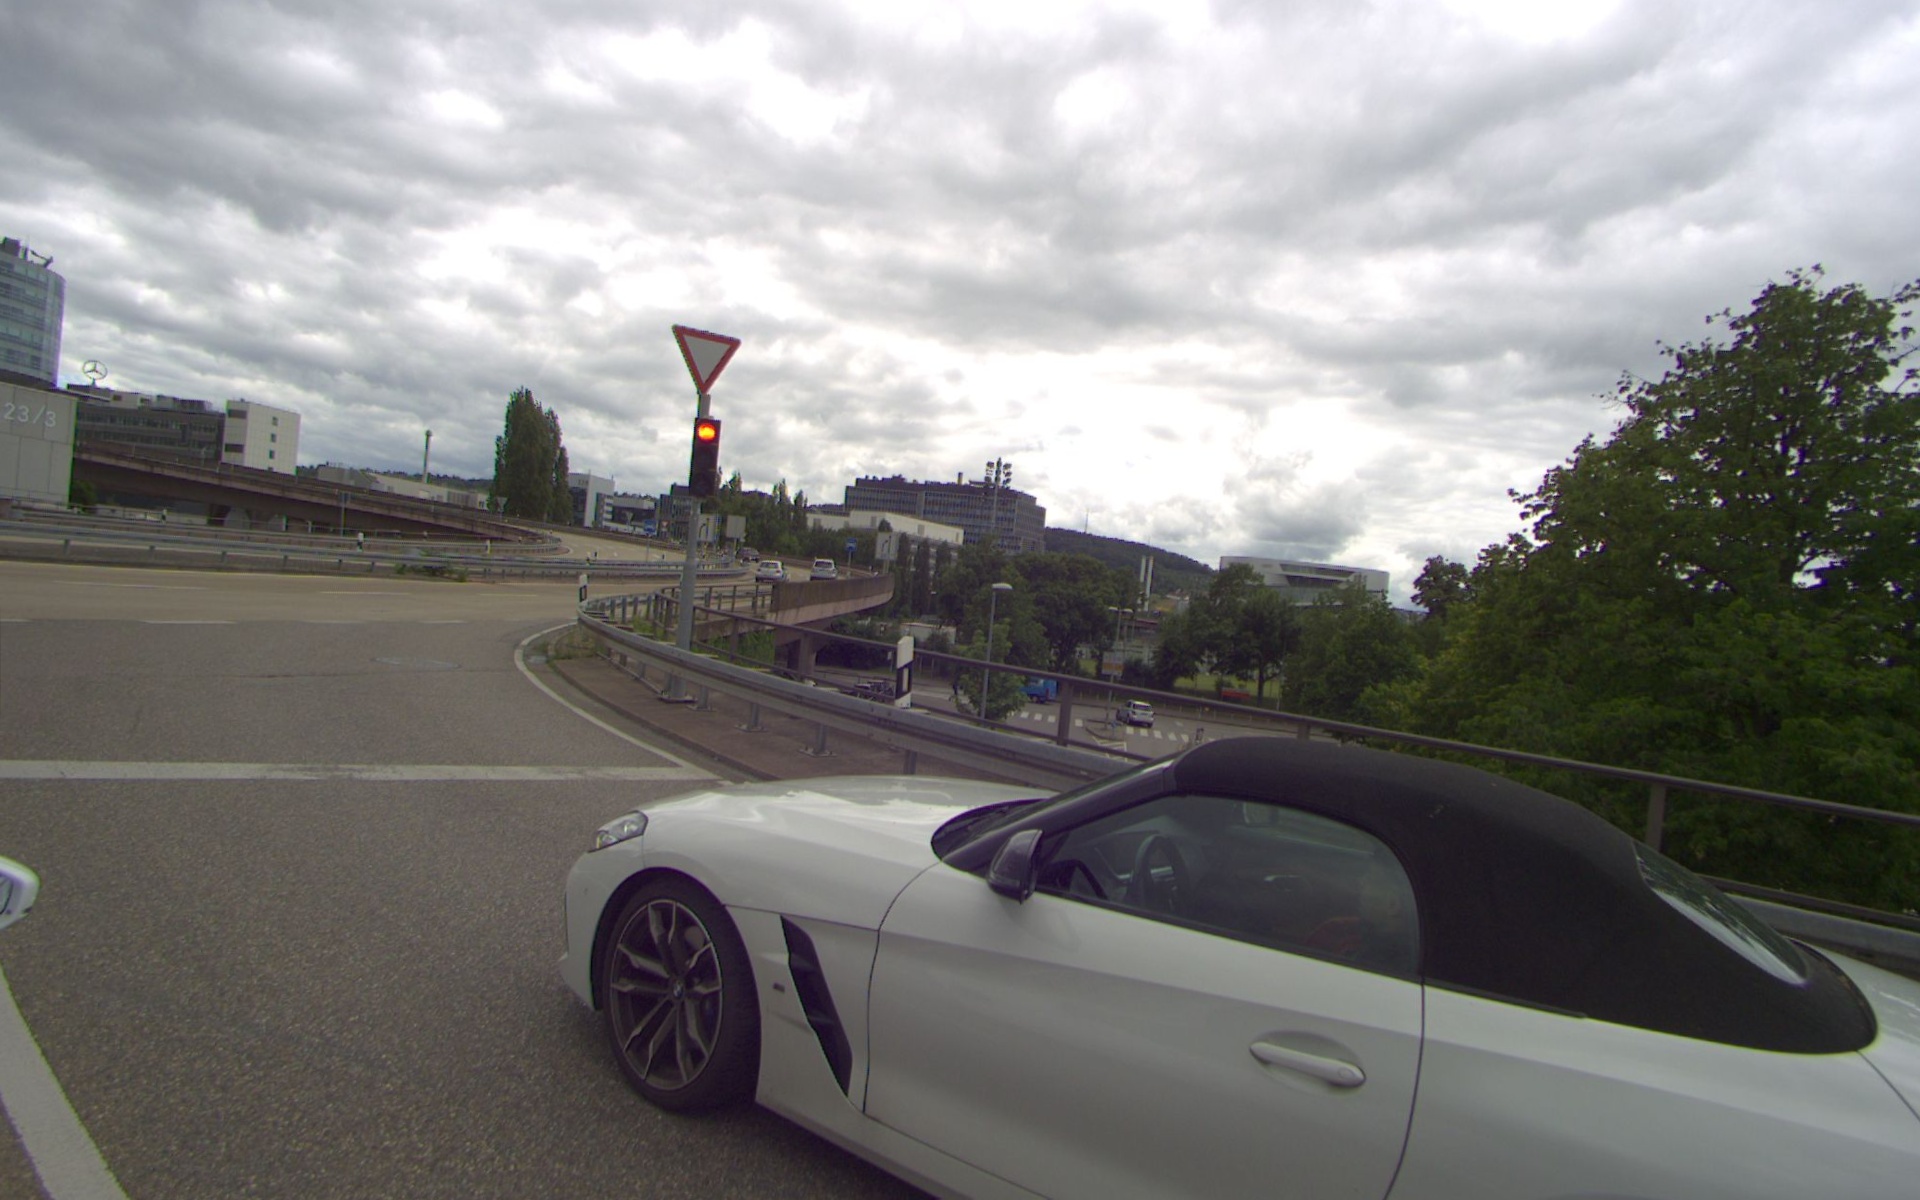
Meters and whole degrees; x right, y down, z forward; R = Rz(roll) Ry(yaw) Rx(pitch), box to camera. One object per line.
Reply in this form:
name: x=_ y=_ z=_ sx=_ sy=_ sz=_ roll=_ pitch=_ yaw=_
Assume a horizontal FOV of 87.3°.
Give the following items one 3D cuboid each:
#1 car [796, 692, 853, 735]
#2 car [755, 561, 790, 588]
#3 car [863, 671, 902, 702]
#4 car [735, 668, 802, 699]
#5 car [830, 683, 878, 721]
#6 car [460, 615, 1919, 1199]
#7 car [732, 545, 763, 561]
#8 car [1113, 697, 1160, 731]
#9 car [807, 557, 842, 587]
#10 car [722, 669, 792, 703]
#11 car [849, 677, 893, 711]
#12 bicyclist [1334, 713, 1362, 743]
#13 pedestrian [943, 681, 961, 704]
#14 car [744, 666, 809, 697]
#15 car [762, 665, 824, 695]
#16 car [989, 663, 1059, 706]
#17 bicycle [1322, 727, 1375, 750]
car: x=-6.835 y=5.717 z=51.098 sx=1.792 sy=1.553 sz=4.000 roll=8 pitch=0 yaw=6
car: x=-12.269 y=-1.648 z=65.996 sx=1.699 sy=1.417 sz=4.063 roll=7 pitch=0 yaw=-5
car: x=-5.273 y=5.862 z=68.626 sx=1.792 sy=1.553 sz=4.000 roll=8 pitch=0 yaw=6
car: x=-12.183 y=5.318 z=64.225 sx=3.792 sy=1.371 sz=1.826 roll=8 pitch=1 yaw=1
car: x=-6.053 y=5.799 z=57.758 sx=1.792 sy=1.553 sz=4.000 roll=8 pitch=0 yaw=6
car: x=0.609 y=1.001 z=3.009 sx=4.194 sy=1.306 sz=1.808 roll=7 pitch=-2 yaw=34
car: x=-22.720 y=-4.982 z=107.294 sx=1.712 sy=1.480 sz=4.207 roll=5 pitch=0 yaw=-33
car: x=13.372 y=8.632 z=76.532 sx=1.982 sy=1.883 sz=4.858 roll=10 pitch=-2 yaw=-6
car: x=-9.413 y=-1.916 z=70.428 sx=1.698 sy=1.758 sz=4.555 roll=7 pitch=0 yaw=-1
car: x=-12.461 y=5.270 z=61.886 sx=3.792 sy=1.371 sz=1.826 roll=8 pitch=1 yaw=1
car: x=-5.535 y=5.835 z=62.967 sx=1.792 sy=1.553 sz=4.195 roll=8 pitch=0 yaw=6
bicyclist: x=31.006 y=10.256 z=80.498 sx=1.539 sy=2.114 sz=1.092 roll=10 pitch=-5 yaw=-4
pedestrian: x=-0.590 y=6.841 z=74.178 sx=0.898 sy=1.514 sz=0.750 roll=8 pitch=-3 yaw=15
car: x=-12.067 y=5.375 z=66.344 sx=3.792 sy=1.371 sz=1.826 roll=8 pitch=1 yaw=1
car: x=-11.468 y=5.492 z=69.124 sx=3.792 sy=1.371 sz=1.826 roll=8 pitch=1 yaw=1
car: x=5.442 y=7.199 z=85.575 sx=5.294 sy=2.617 sz=2.017 roll=10 pitch=-1 yaw=25
bicycle: x=31.090 y=11.077 z=80.470 sx=3.786 sy=1.189 sz=1.092 roll=10 pitch=-5 yaw=-4
